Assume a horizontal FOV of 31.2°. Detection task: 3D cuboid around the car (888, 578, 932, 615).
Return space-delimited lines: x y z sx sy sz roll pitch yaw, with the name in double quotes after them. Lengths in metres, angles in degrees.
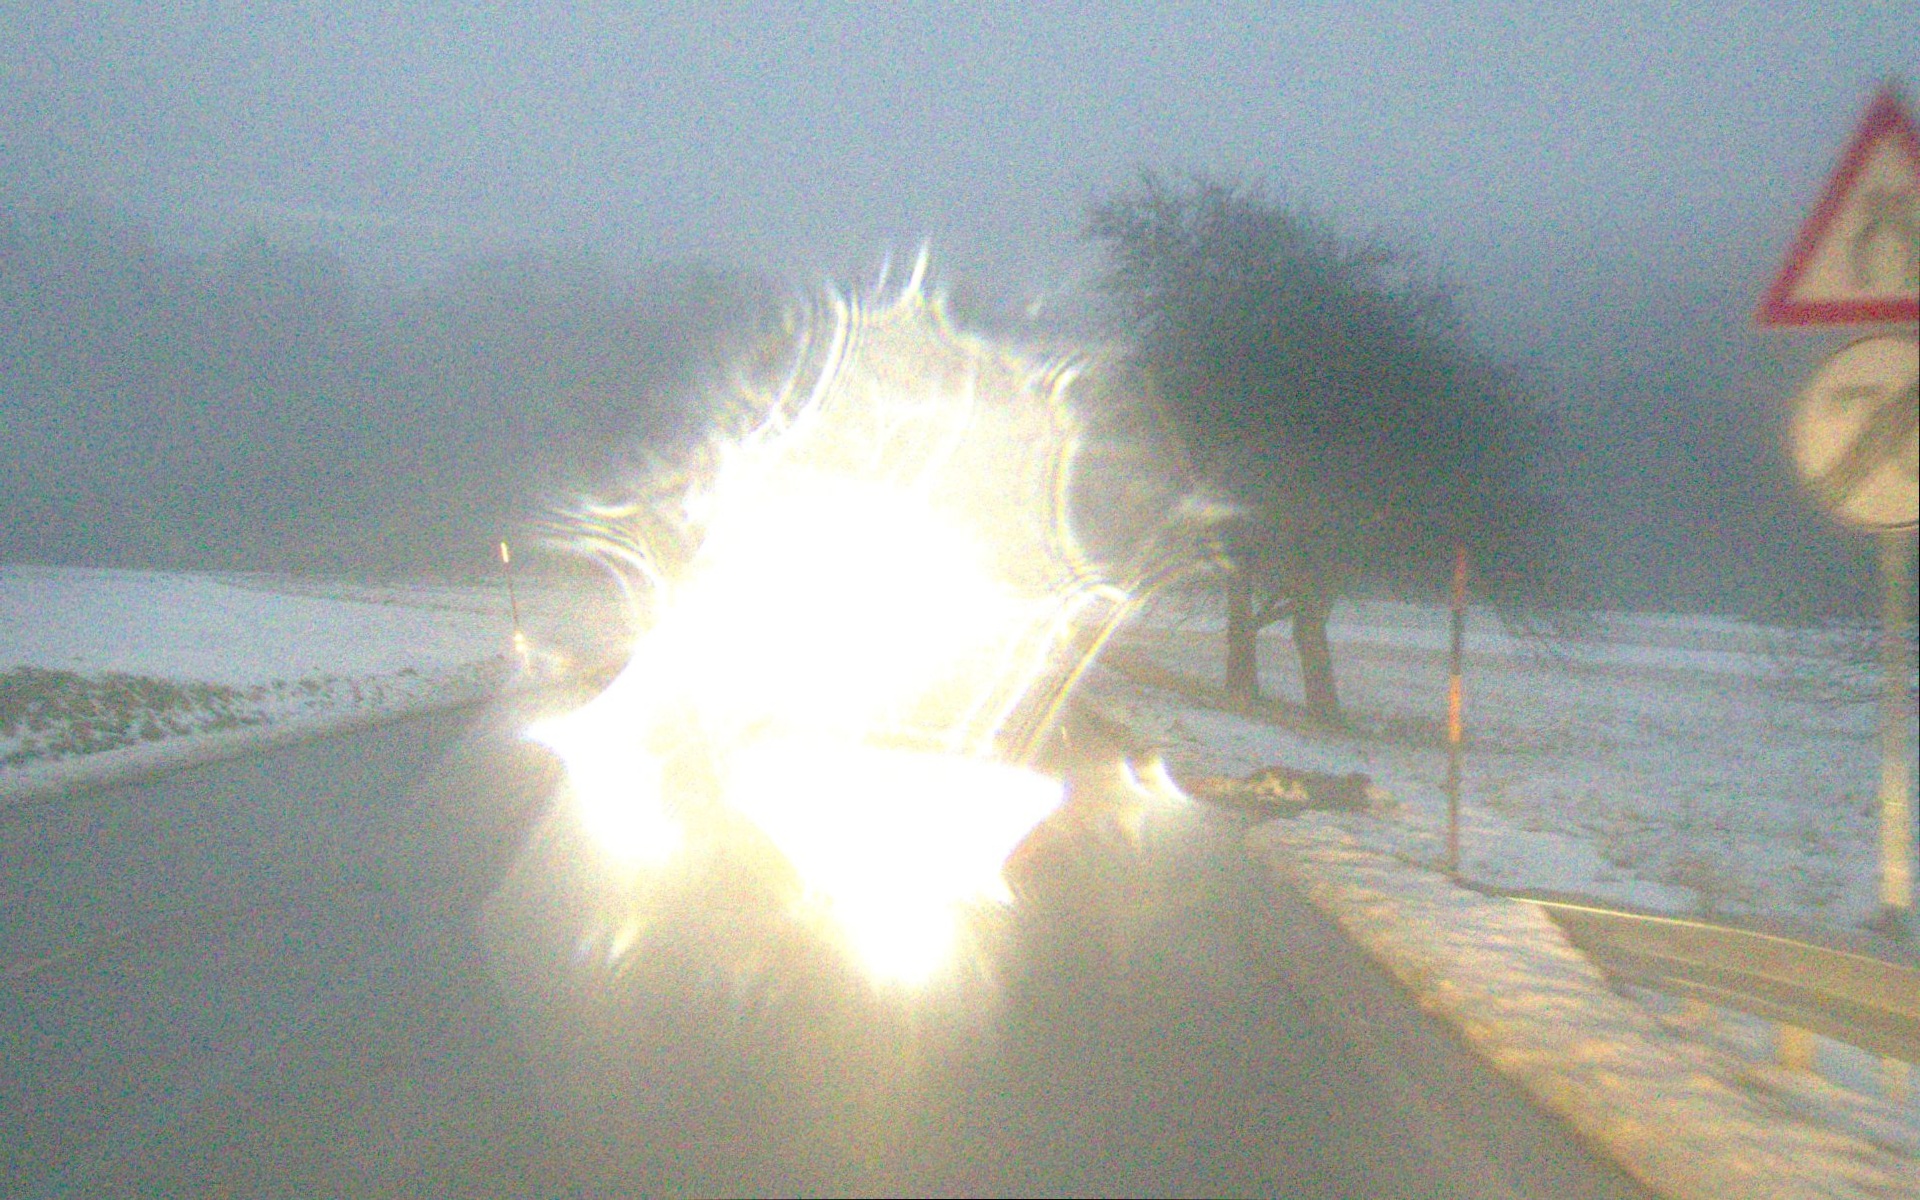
-2.227 -0.175 154.812 1.692 1.546 3.855 1 2 3 "car"
